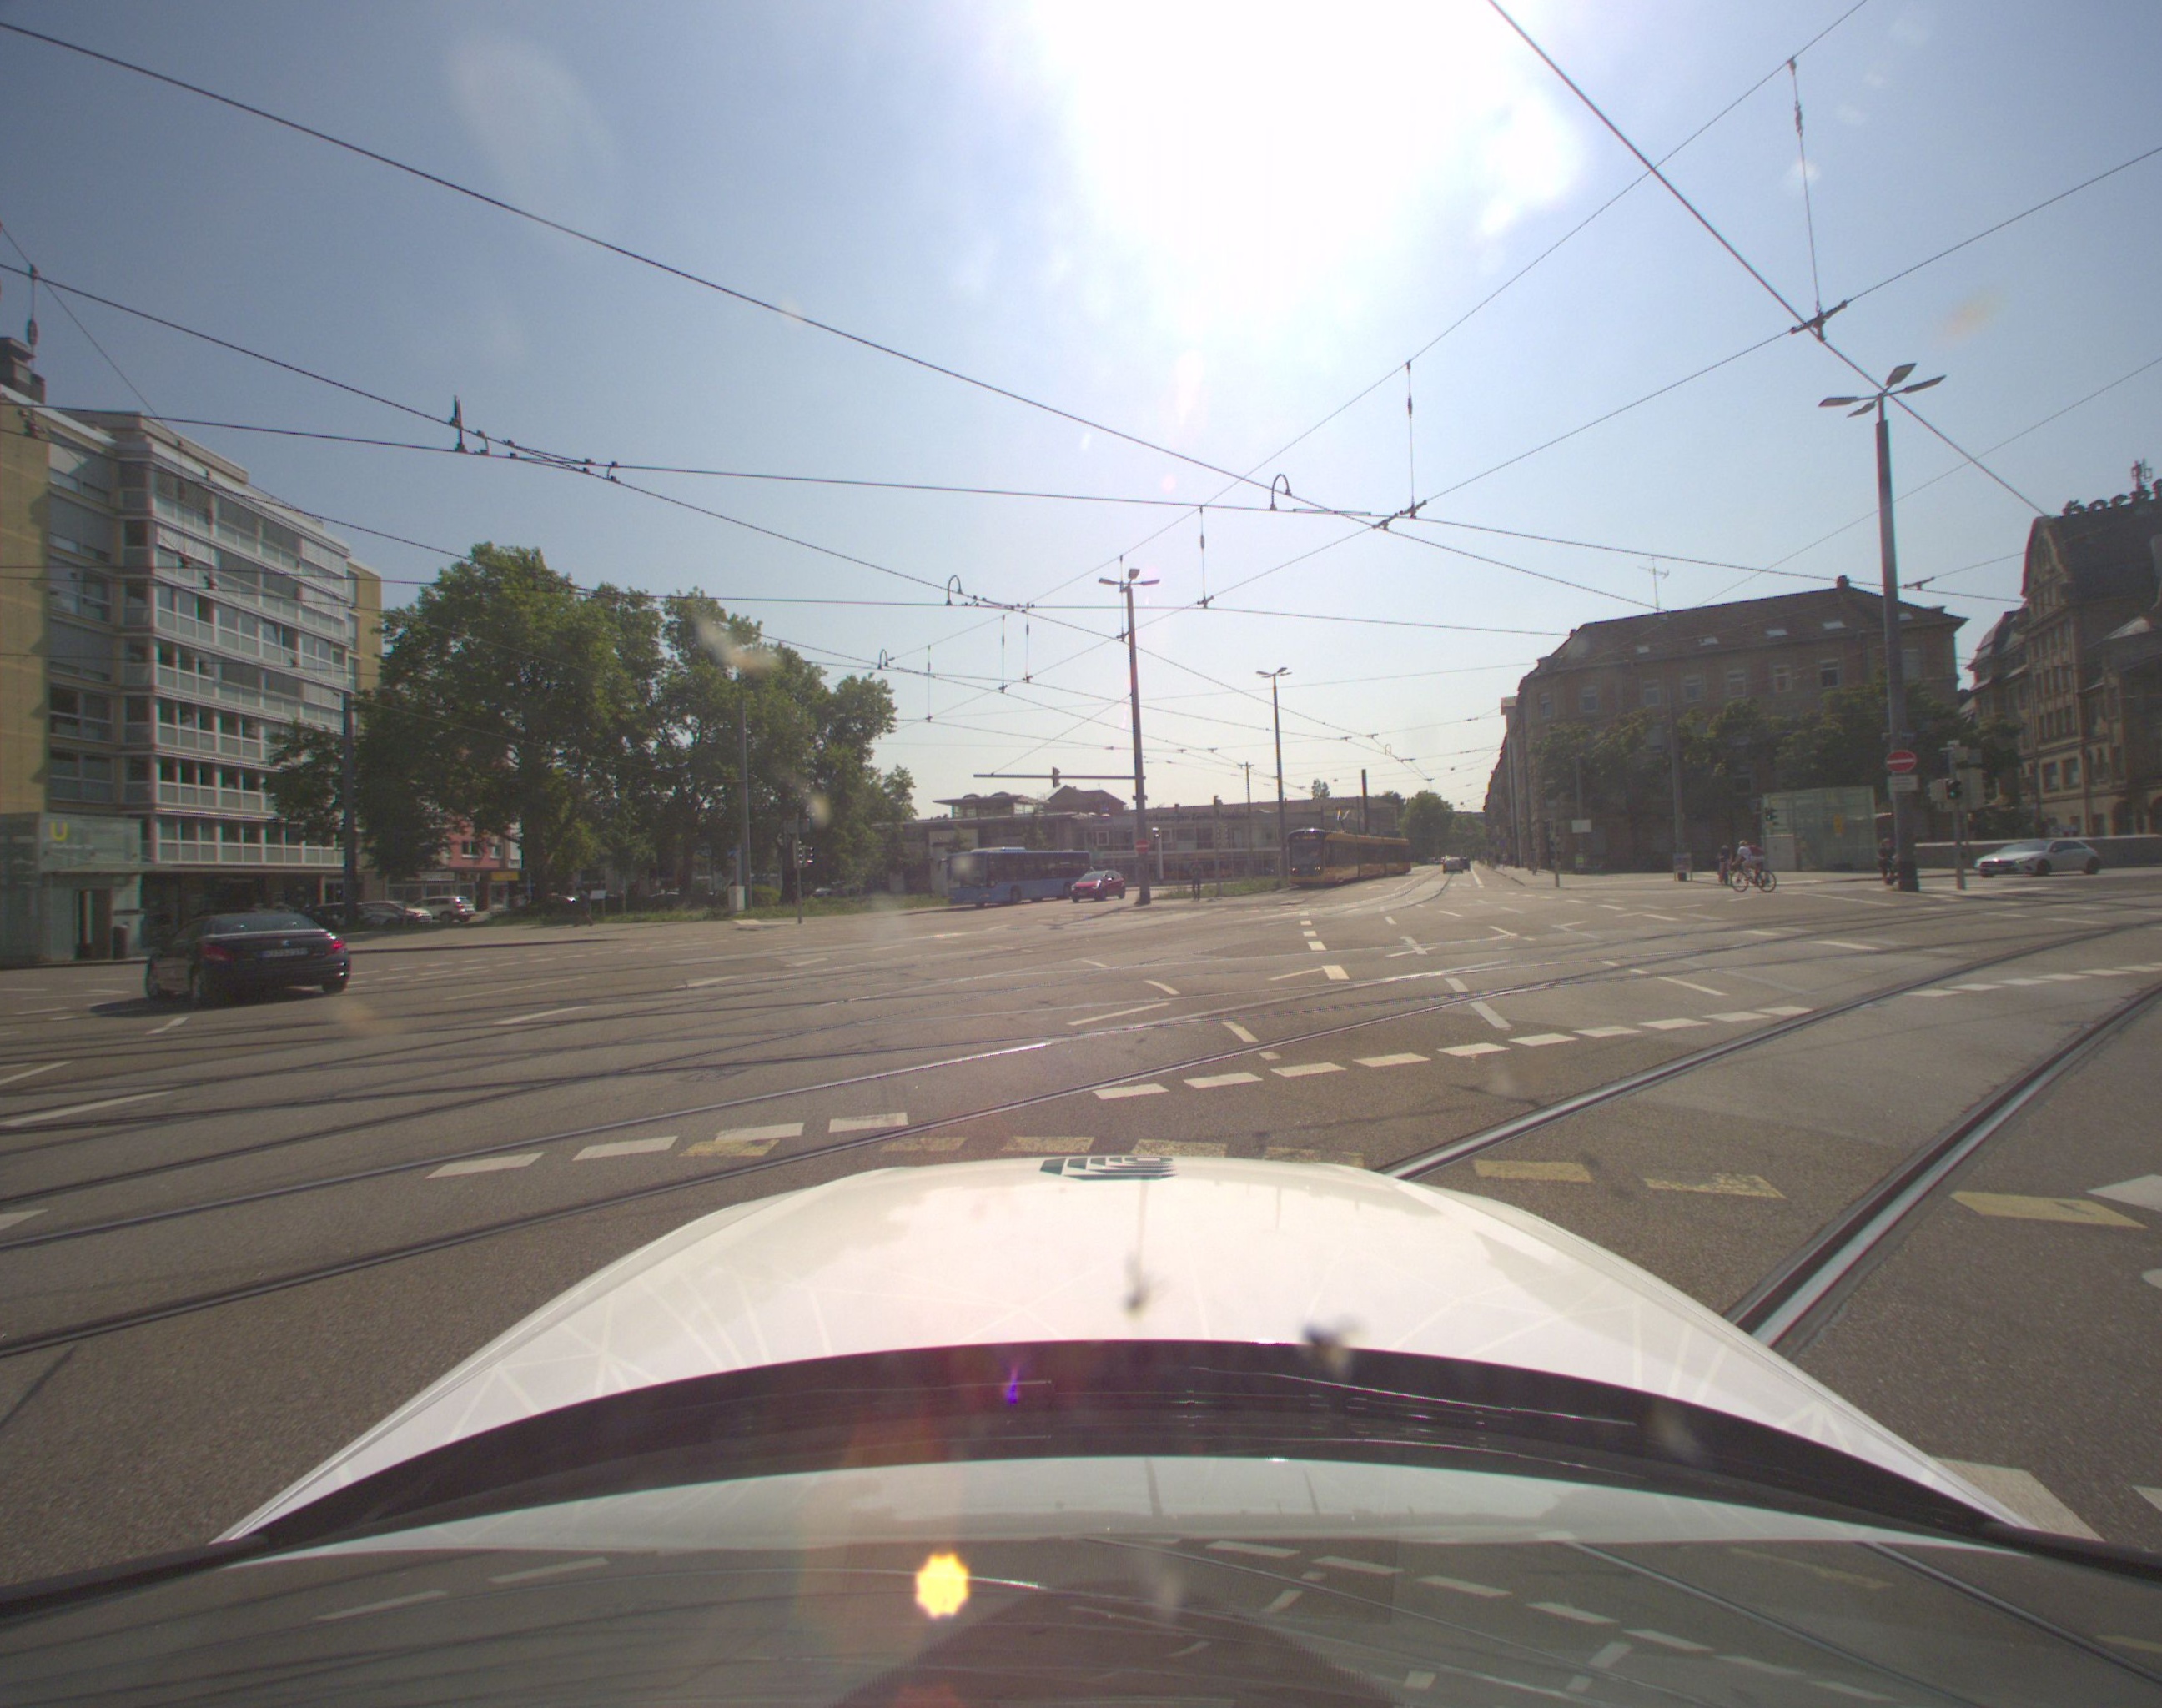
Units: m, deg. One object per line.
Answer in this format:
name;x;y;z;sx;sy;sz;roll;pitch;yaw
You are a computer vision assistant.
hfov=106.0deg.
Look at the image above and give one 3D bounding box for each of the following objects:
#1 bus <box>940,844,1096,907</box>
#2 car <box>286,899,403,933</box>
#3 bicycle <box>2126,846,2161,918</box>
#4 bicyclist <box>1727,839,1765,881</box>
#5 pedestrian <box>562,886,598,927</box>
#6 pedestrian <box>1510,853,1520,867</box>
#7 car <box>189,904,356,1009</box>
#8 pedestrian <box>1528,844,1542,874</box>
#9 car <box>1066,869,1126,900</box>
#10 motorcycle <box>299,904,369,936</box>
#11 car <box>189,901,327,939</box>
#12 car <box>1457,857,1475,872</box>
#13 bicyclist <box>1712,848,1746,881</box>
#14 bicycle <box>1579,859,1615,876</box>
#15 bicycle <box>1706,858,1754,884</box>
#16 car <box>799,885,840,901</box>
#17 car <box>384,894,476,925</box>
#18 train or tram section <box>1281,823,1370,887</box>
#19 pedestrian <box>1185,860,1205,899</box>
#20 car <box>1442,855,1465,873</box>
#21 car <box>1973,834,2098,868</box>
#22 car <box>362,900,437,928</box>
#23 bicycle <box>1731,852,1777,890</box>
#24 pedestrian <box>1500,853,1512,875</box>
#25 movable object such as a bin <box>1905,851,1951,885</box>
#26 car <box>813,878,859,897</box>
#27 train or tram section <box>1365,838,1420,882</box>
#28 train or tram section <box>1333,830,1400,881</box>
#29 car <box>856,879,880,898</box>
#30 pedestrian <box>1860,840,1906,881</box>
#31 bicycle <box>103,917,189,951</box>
bus;-3.121;1.124;46.382;2.700;3.065;12.154;-3;-2;27
car;-39.158;3.288;43.414;4.232;1.470;1.900;-2;-1;-9
bicycle;16.923;0.455;12.153;0.436;1.111;2.137;-3;1;16
bicyclist;20.565;0.184;25.201;0.651;1.254;0.647;-3;-2;16
pedestrian;-20.640;2.151;33.565;0.946;1.609;0.791;-3;-1;-10
pedestrian;51.523;0.750;96.720;0.832;1.671;0.814;-1;-1;18
car;-13.831;1.623;13.862;3.949;1.432;1.807;-4;-2;42
pedestrian;31.369;0.345;56.242;0.643;2.014;0.707;-3;-2;22
car;0.840;1.560;42.228;1.609;1.472;3.794;-3;-1;26
motorcycle;-30.611;2.702;33.392;2.095;1.137;0.914;-3;-2;6
car;-38.861;3.087;38.547;4.232;1.470;1.900;-2;-1;-9
car;40.964;1.098;86.700;1.496;1.511;3.643;-3;-1;22
bicyclist;26.660;0.420;33.515;0.741;1.320;0.925;-3;-1;16
bicycle;31.429;0.830;49.615;1.767;0.958;0.464;-3;-2;20
bicycle;26.656;0.676;33.513;0.639;0.998;2.385;-3;-1;16
car;-28.416;4.215;88.534;1.975;1.508;4.022;-3;-1;24
car;-40.427;3.435;50.656;4.060;1.666;1.785;-2;-1;-9
train or tram section;15.650;0.187;51.198;2.562;3.561;12.291;-2;-2;30
pedestrian;5.103;1.134;36.382;0.797;1.687;0.721;-3;-2;8
car;34.845;0.968;76.257;1.717;1.574;3.631;-1;-2;21
car;37.538;-0.112;32.052;3.717;1.288;1.581;0;-2;-11
car;-40.311;3.529;48.209;3.088;1.429;1.399;-2;-1;-9
bicycle;20.822;0.526;25.220;0.436;1.111;1.650;-3;-1;17
pedestrian;40.514;0.960;77.606;0.832;2.014;0.814;-1;-2;18
movable object such as a bin;27.580;0.471;26.540;0.810;1.085;1.045;-2;-2;35
car;-25.705;3.541;85.546;1.694;1.753;4.285;-4;-2;43
train or tram section;27.883;0.643;72.517;2.562;3.561;12.291;-2;-2;30
train or tram section;22.036;0.237;62.350;2.562;3.561;12.291;-2;-2;30
car;-23.788;3.777;91.224;2.328;2.014;6.779;0;-2;-12
pedestrian;27.529;0.231;27.961;0.714;1.351;0.816;-2;-1;1
bicycle;-39.142;3.331;34.118;2.424;1.239;0.792;-3;-2;-7
